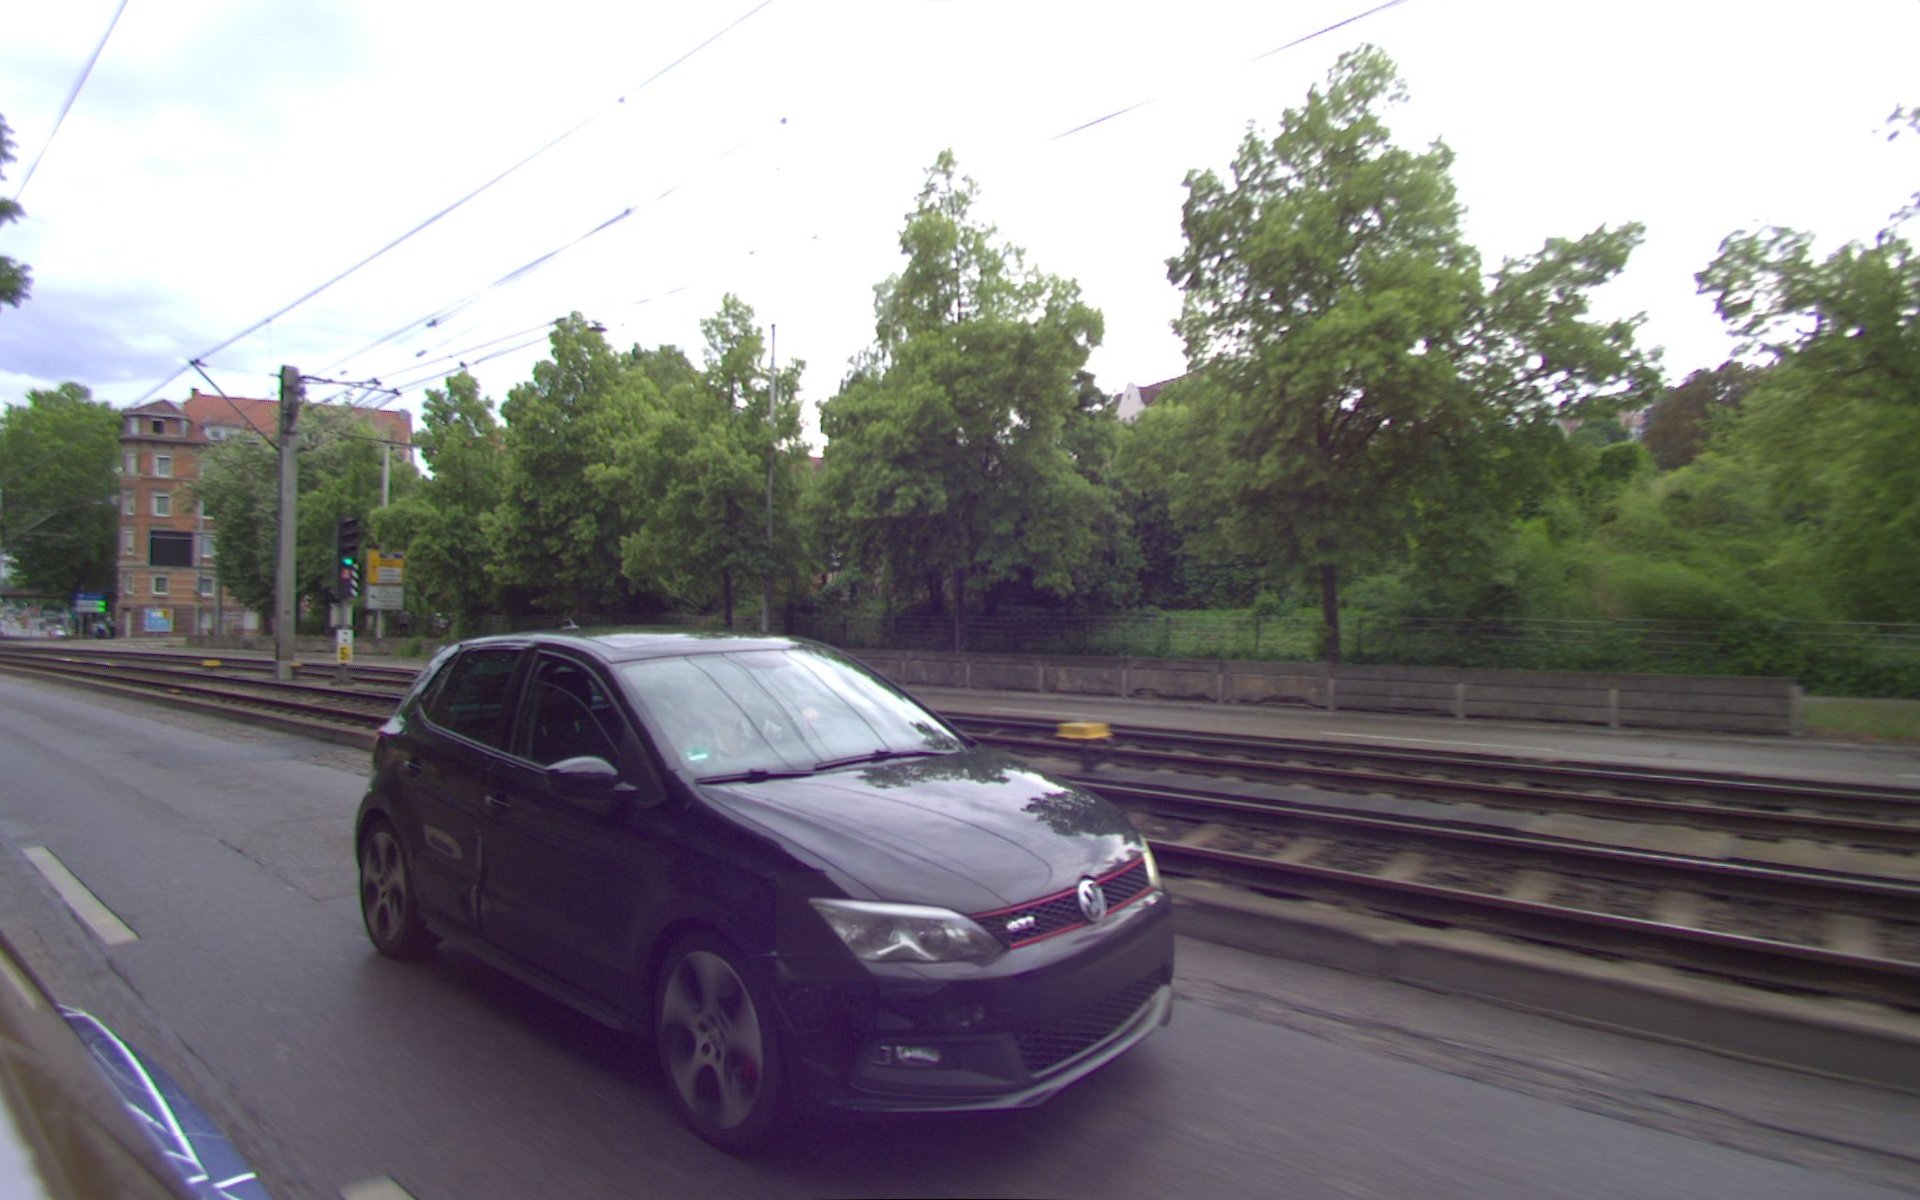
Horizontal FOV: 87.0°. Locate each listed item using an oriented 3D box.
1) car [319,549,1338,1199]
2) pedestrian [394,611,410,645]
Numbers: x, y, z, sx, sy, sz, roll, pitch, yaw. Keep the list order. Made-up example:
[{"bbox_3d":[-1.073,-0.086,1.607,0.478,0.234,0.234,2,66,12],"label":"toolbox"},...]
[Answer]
[{"bbox_3d":[-0.815,0.710,3.997,3.961,1.497,1.776,-2,-2,40],"label":"car"},{"bbox_3d":[-31.673,1.593,57.467,0.653,1.917,0.590,-1,-1,37],"label":"pedestrian"}]
